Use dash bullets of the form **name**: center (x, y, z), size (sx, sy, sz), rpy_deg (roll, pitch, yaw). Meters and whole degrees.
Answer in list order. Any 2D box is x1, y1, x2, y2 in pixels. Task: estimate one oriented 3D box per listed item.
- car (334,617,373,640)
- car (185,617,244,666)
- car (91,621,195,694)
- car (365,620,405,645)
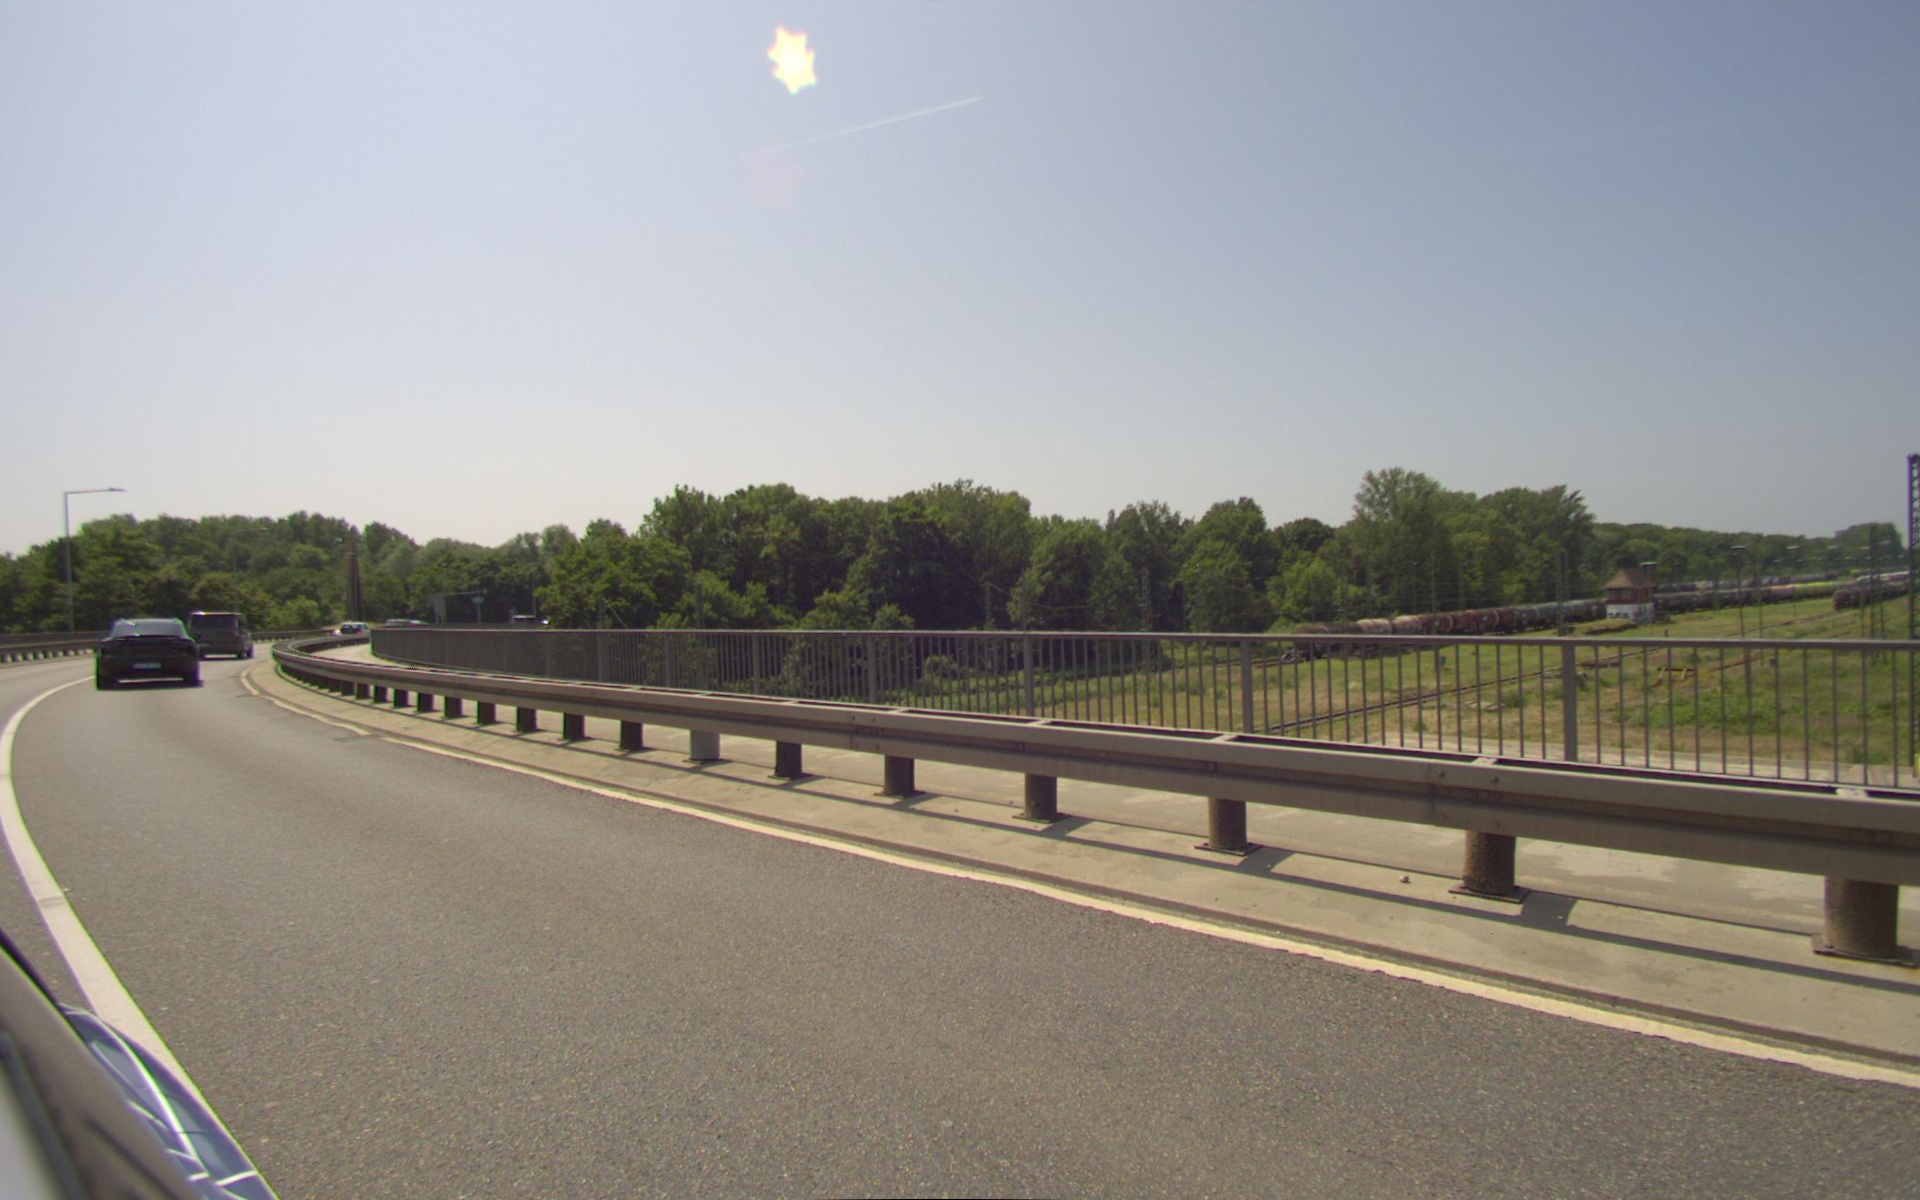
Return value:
- **car**: center (-41.112, 1.956, 68.648), size (1.641, 1.475, 3.497), rpy_deg (-1, -1, -21)
- **car**: center (-32.473, 1.738, 44.105), size (1.980, 1.974, 5.283), rpy_deg (0, -1, -36)
- **car**: center (-20.222, 1.378, 25.185), size (1.868, 1.608, 4.496), rpy_deg (-1, -2, -37)
- **car**: center (-43.984, 2.502, 77.458), size (1.880, 1.780, 4.012), rpy_deg (-1, -1, -19)
